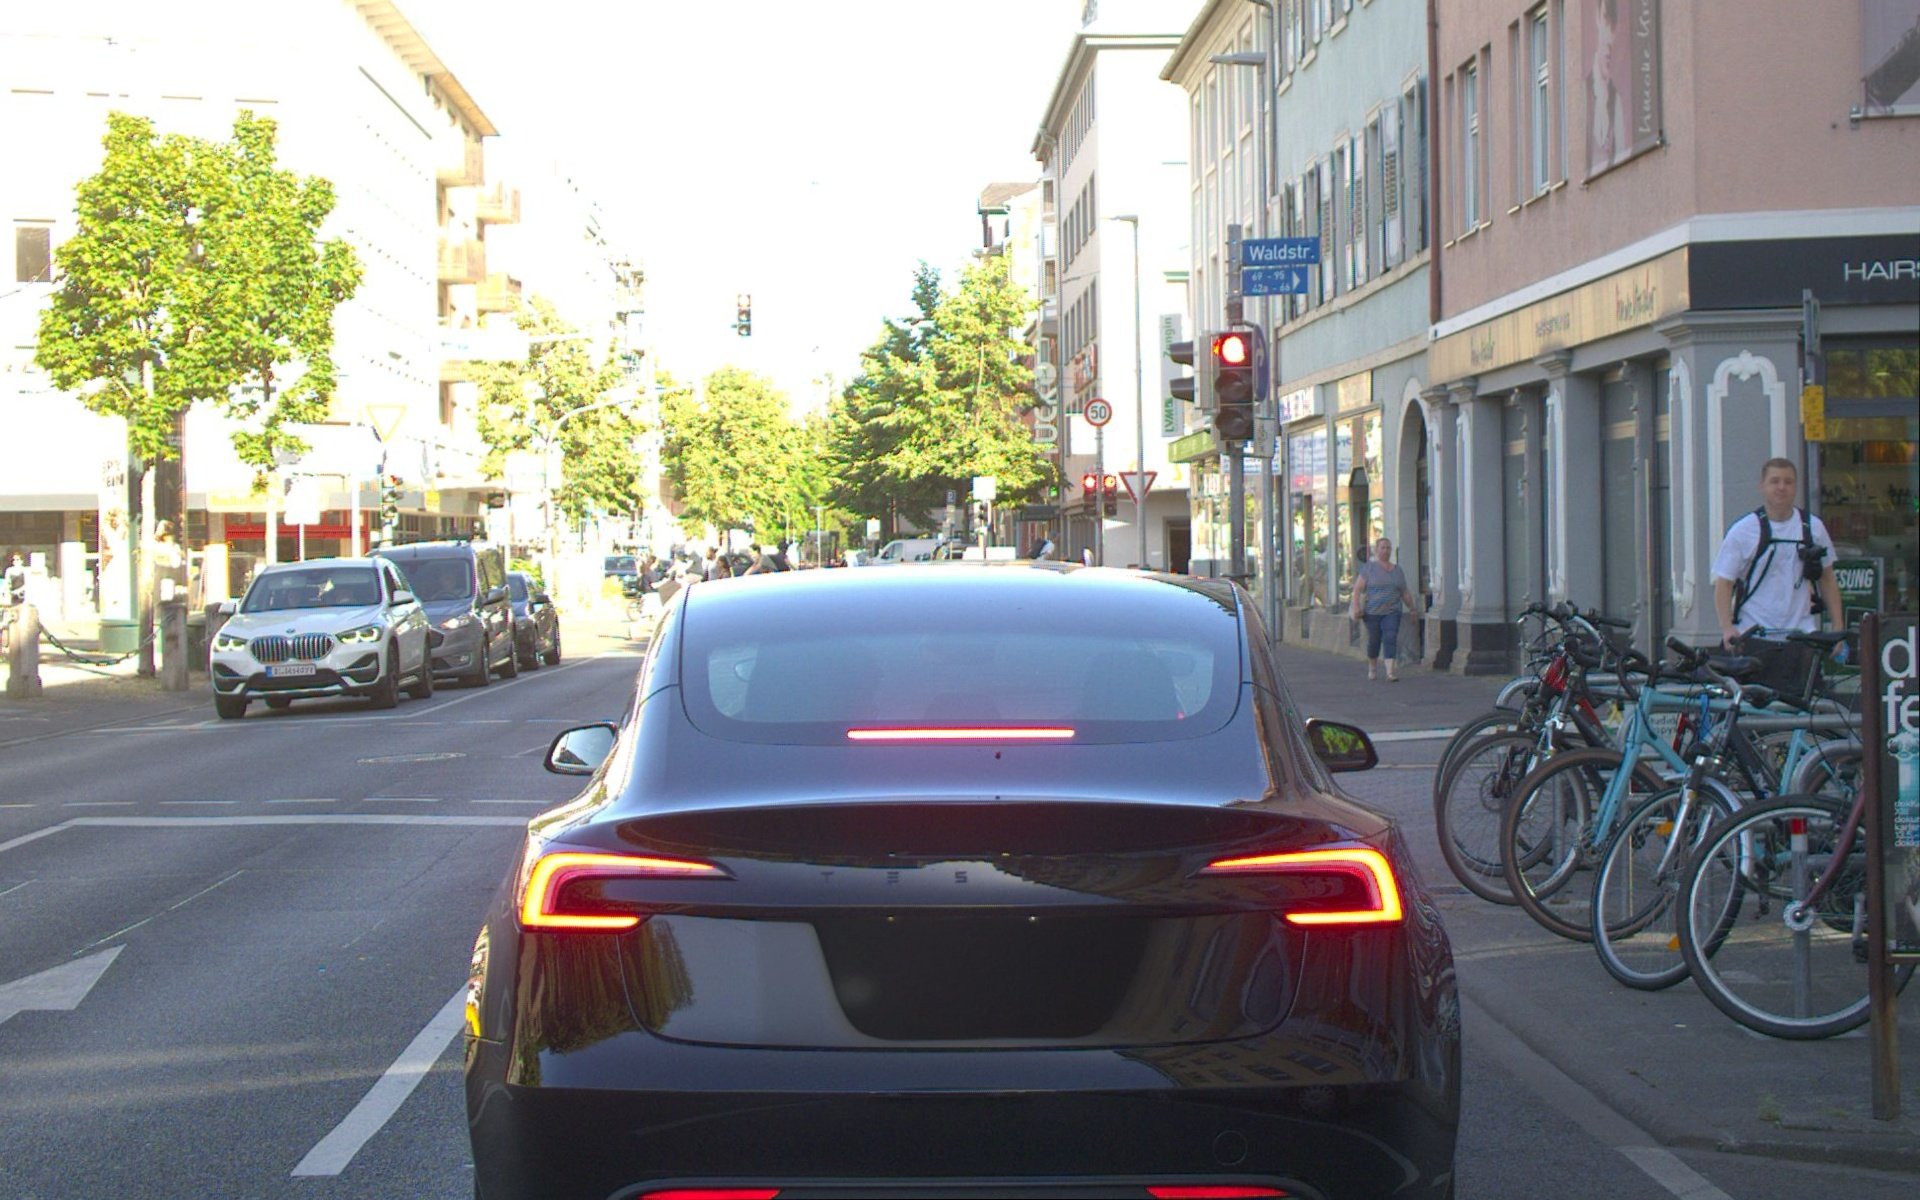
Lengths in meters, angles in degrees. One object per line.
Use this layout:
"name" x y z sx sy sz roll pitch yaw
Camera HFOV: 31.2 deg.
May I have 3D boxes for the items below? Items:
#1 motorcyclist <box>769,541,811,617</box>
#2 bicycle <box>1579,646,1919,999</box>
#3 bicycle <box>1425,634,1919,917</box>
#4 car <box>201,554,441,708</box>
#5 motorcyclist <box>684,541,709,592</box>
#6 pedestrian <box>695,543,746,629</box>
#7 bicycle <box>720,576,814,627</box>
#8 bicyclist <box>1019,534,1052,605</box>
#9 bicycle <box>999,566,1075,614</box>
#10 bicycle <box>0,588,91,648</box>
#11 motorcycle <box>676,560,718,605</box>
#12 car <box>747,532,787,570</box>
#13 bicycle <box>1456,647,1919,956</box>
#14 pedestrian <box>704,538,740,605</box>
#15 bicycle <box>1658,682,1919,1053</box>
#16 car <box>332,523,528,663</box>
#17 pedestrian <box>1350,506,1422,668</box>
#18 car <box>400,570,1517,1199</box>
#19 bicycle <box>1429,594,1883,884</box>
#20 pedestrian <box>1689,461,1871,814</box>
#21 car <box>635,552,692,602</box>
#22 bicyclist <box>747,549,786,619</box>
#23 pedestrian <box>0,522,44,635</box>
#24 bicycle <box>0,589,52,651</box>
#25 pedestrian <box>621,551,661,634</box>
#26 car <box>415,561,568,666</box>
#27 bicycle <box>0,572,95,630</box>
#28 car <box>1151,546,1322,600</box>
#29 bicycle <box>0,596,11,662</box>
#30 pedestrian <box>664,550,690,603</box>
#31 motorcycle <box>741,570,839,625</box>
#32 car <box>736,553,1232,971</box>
"motorcyclist" -3.453 -0.431 69.918 0.719 1.523 0.516 0 1 -21
"bicycle" 2.997 0.702 11.162 1.873 1.084 0.414 -2 0 4
"bicycle" 2.817 0.688 13.638 1.873 1.034 0.547 -2 0 5
"car" -6.657 0.290 36.180 1.789 1.455 3.757 -2 1 0
"motorcyclist" -6.447 -0.813 84.068 0.489 1.249 0.355 0 0 -38
"pedestrian" -4.619 -0.274 66.266 0.754 1.626 0.956 1 0 -18
"bicycle" -3.835 0.030 68.229 1.784 1.003 0.472 1 0 -16
"bicyclist" 1.613 -0.652 73.426 0.522 1.498 0.476 1 0 -24
"bicycle" 1.649 -0.222 73.448 1.556 1.009 0.484 1 0 -24
"bicycle" -14.836 0.283 54.689 1.864 0.931 0.606 0 1 -1
"motorcycle" -6.435 -0.431 84.087 0.977 1.082 0.356 0 1 -37
"car" -10.492 -2.640 187.142 1.993 2.007 4.000 1 1 -1
"bicycle" 2.780 0.720 12.476 1.873 1.034 0.533 -2 0 4
"pedestrian" -6.352 -0.758 91.719 0.671 1.782 0.712 0 0 -36
"bicycle" 3.010 0.755 9.973 1.873 1.034 0.353 -2 0 6
"car" -6.501 -0.122 42.566 1.787 1.640 4.403 0 1 -1
"pedestrian" 4.607 -0.144 37.177 0.706 1.736 0.540 0 1 0
"car" -0.024 0.657 7.612 1.822 1.437 4.000 0 1 -1
"bicycle" 2.966 0.592 14.757 1.828 1.165 0.505 -2 0 5
"pedestrian" 4.200 0.184 17.650 0.750 1.759 0.836 1 0 4
"car" -9.337 -0.739 108.108 1.706 1.546 3.697 0 1 -6
"bicyclist" -3.840 -0.319 68.218 0.669 1.390 0.462 1 0 -16
"pedestrian" -17.093 -0.391 61.911 1.057 2.007 1.055 1 0 -20
"bicycle" -14.807 0.308 52.240 1.864 0.931 0.606 0 1 -1
"pedestrian" -5.960 -0.138 64.220 0.622 1.532 0.514 1 0 -18
"car" -6.761 0.166 49.923 1.715 1.441 3.845 1 1 -1
"bicycle" -20.854 0.014 77.919 2.361 1.291 0.513 1 0 -26
"car" 7.132 -0.715 88.725 3.986 1.349 1.909 -1 1 -21
"bicycle" -14.749 0.405 49.750 1.864 0.931 0.606 1 0 -1
"pedestrian" -7.563 -0.629 91.781 0.521 1.417 0.479 1 0 -30
"motorcycle" -3.465 -0.056 69.930 1.926 1.107 0.519 0 1 -20
"car" 0.015 0.535 13.794 1.718 1.420 3.758 0 1 -2
